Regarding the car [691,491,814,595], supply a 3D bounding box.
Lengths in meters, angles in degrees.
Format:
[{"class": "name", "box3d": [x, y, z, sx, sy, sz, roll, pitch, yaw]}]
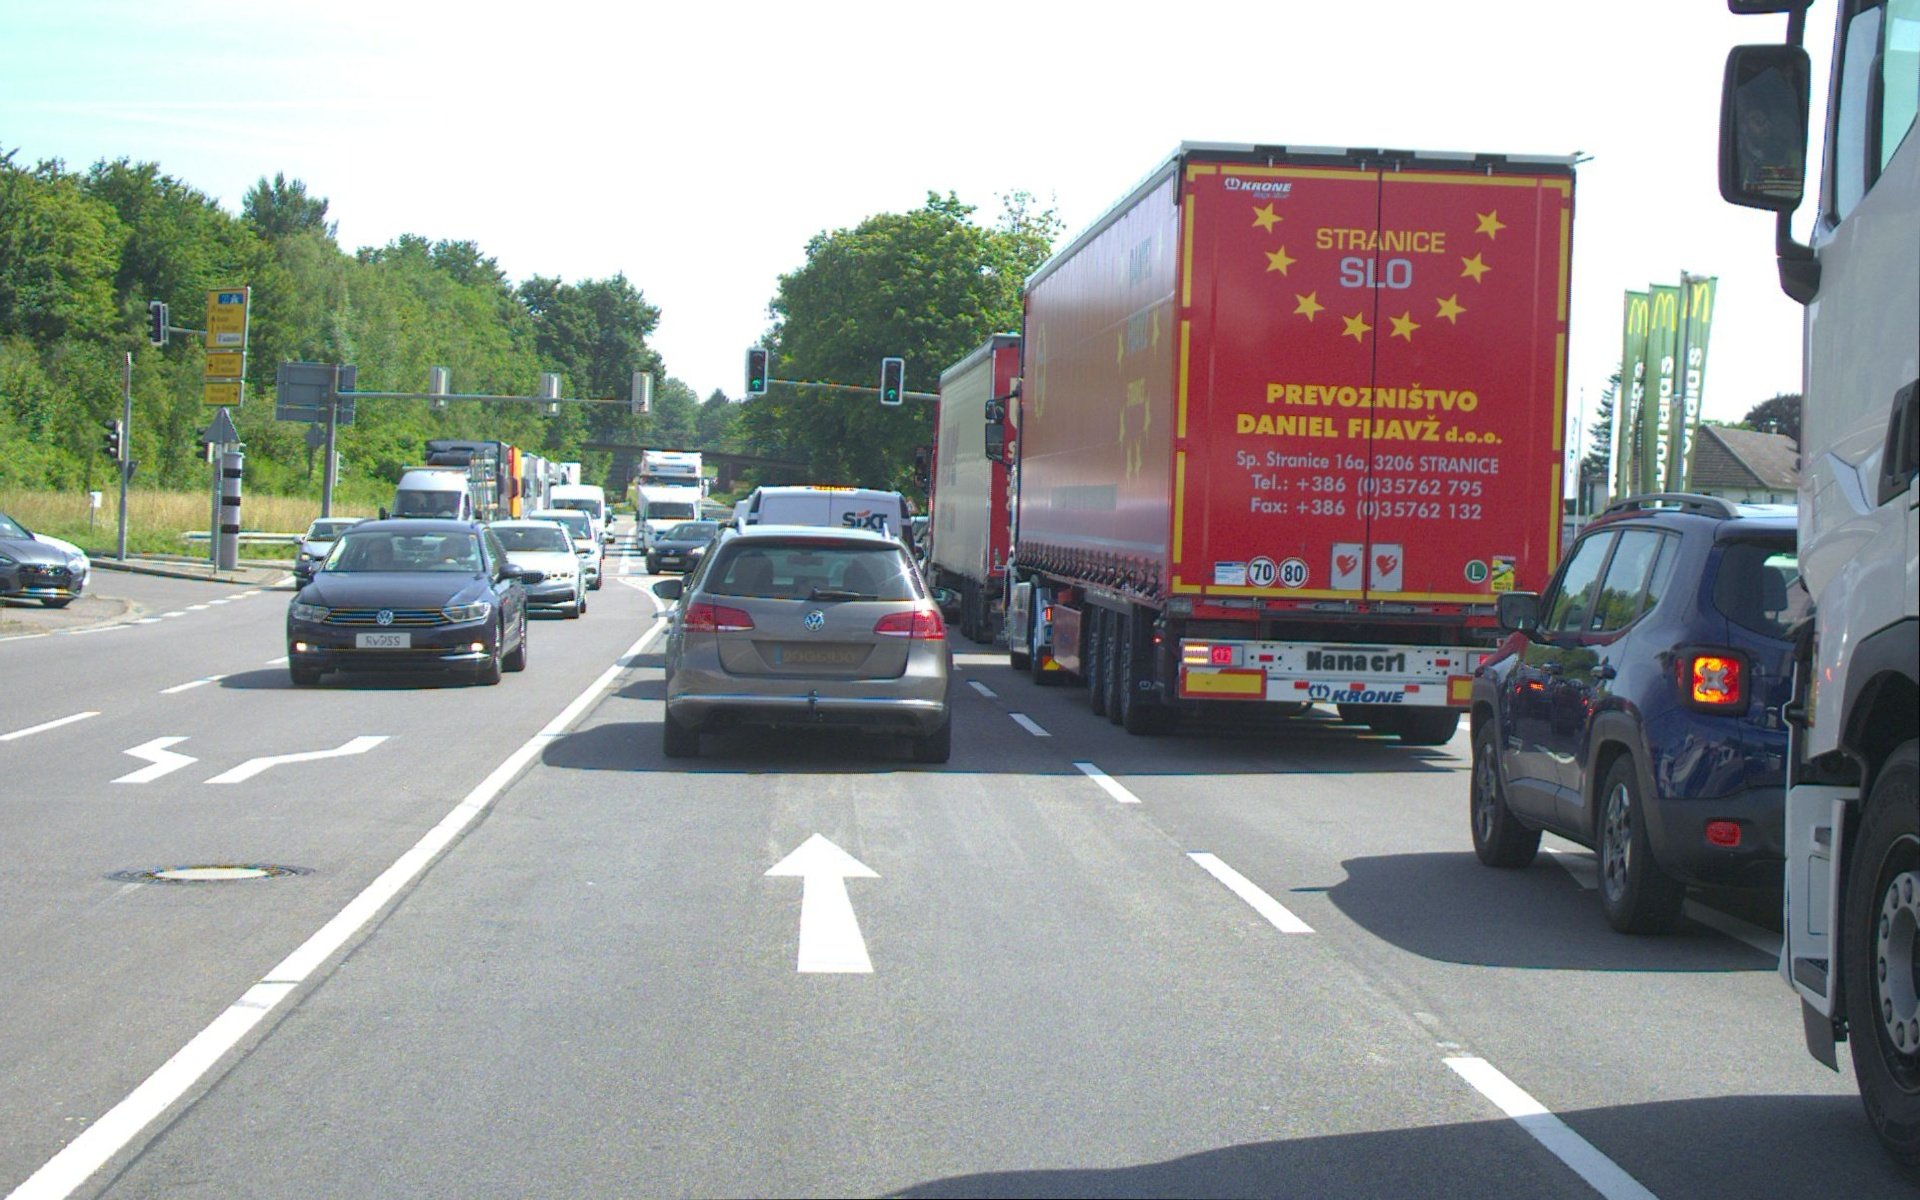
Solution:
[{"class": "car", "box3d": [-3.260, -0.893, 54.478, 1.727, 1.514, 3.312, 2, 1, -1]}]

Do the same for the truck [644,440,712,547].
[{"class": "truck", "box3d": [-11.654, -4.385, 142.546, 2.552, 4.292, 7.597, 1, 1, -3]}]

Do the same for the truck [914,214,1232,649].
[{"class": "truck", "box3d": [1.273, -2.273, 50.671, 3.062, 5.202, 17.010, 2, 1, -3]}]

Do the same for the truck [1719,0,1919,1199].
[{"class": "truck", "box3d": [3.575, -0.593, 0.725, 2.890, 4.251, 16.711, 2, 1, 0]}]

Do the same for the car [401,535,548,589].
[{"class": "car", "box3d": [-13.865, -1.075, 98.315, 1.716, 1.443, 4.072, 2, 2, 38]}]

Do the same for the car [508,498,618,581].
[{"class": "car", "box3d": [-8.225, -1.264, 71.549, 1.909, 1.657, 4.181, 0, 1, -2]}]

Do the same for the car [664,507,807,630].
[{"class": "car", "box3d": [-2.974, -0.425, 46.080, 1.727, 1.514, 3.312, 2, 1, -2]}]

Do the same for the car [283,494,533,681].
[{"class": "car", "box3d": [-4.985, -0.162, 31.552, 1.806, 1.554, 4.388, 1, 1, -3]}]

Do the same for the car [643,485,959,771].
[{"class": "car", "box3d": [-0.933, 0.133, 21.905, 1.790, 1.633, 3.504, 1, 1, 0]}]

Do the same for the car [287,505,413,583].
[{"class": "car", "box3d": [-12.017, -1.124, 67.972, 1.836, 1.443, 4.081, 2, 1, -2]}]

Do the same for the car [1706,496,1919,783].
[{"class": "car", "box3d": [6.213, 0.201, 22.153, 1.819, 1.679, 4.001, 1, 1, -1]}]

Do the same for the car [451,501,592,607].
[{"class": "car", "box3d": [-6.747, -0.738, 53.261, 1.909, 1.516, 4.782, 1, 1, -5]}]

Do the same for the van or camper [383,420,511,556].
[{"class": "van or camper", "box3d": [-12.704, -2.764, 85.525, 2.207, 3.045, 5.903, 6, 1, -2]}]

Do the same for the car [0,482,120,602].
[{"class": "car", "box3d": [-14.790, -0.897, 50.510, 4.521, 1.687, 2.128, 2, 1, 30]}]

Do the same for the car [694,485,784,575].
[{"class": "car", "box3d": [-4.932, -1.552, 77.049, 1.727, 1.902, 3.312, 2, 0, 0]}]

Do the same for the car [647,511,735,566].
[{"class": "car", "box3d": [-7.068, -1.630, 90.666, 1.666, 1.404, 3.925, 0, 1, 5]}]

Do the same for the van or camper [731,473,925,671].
[{"class": "van or camper", "box3d": [-1.427, -0.321, 36.175, 1.852, 1.899, 3.785, 2, 1, -3]}]

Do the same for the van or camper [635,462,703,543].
[{"class": "van or camper", "box3d": [-10.828, -3.595, 128.246, 2.224, 2.831, 5.711, 2, 0, -3]}]

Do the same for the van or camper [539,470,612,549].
[{"class": "van or camper", "box3d": [-13.088, -3.076, 117.172, 2.173, 2.542, 4.171, 2, 1, -3]}]

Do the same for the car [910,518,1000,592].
[{"class": "car", "box3d": [-0.128, -0.978, 75.366, 1.726, 1.514, 3.313, 3, 0, -3]}]

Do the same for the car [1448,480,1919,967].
[{"class": "car", "box3d": [3.244, 0.394, 14.008, 1.819, 1.679, 4.000, 1, 1, -1]}]

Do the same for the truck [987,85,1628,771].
[{"class": "truck", "box3d": [2.287, -1.295, 30.232, 2.957, 4.255, 16.587, 2, 1, -3]}]
